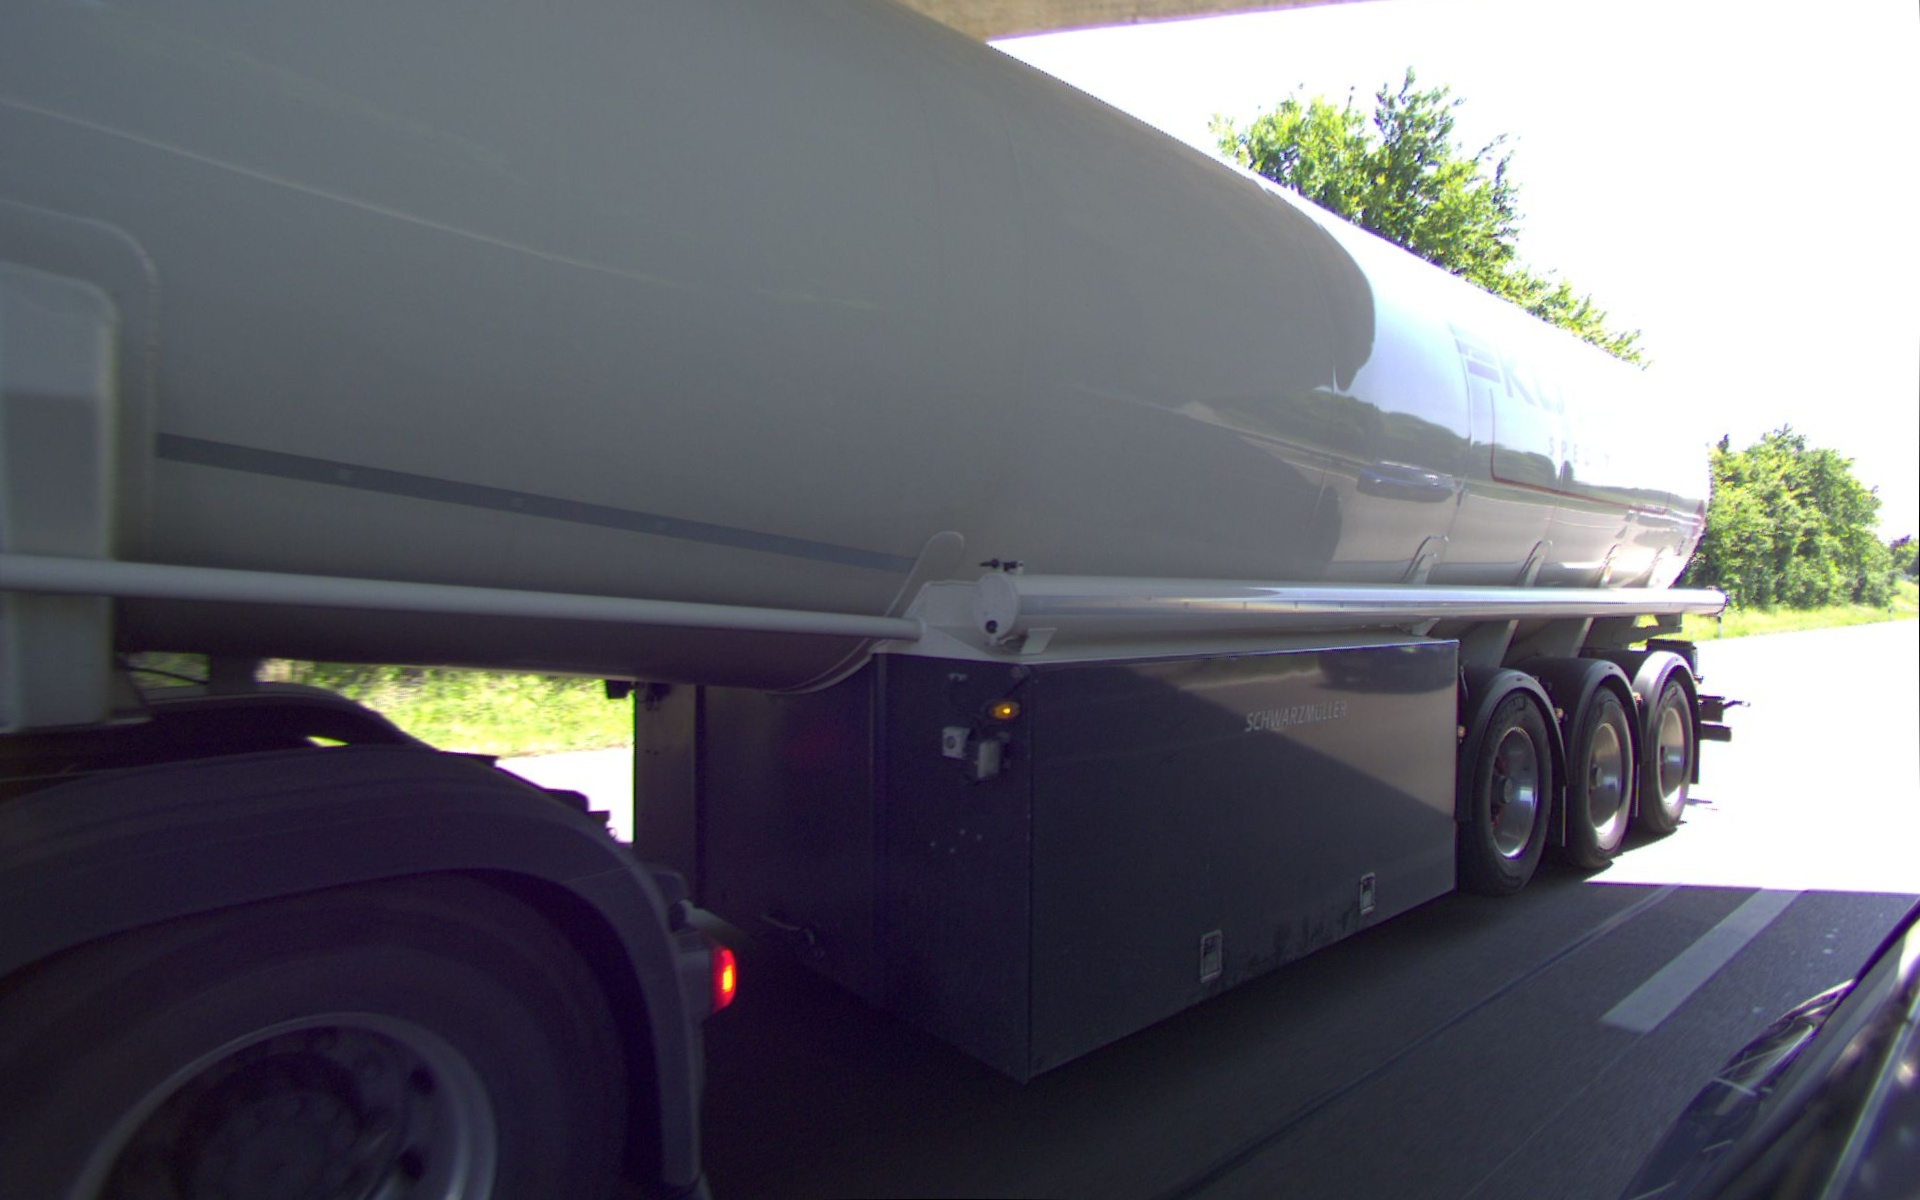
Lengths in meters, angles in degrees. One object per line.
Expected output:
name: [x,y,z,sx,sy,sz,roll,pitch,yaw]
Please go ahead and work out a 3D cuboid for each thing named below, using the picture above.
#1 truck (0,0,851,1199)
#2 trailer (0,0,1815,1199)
truck: [-3.480,-0.335,0.963,6.373,3.417,2.643,0,0,-41]
trailer: [1.311,-0.358,5.028,10.953,3.432,2.653,0,0,-40]
